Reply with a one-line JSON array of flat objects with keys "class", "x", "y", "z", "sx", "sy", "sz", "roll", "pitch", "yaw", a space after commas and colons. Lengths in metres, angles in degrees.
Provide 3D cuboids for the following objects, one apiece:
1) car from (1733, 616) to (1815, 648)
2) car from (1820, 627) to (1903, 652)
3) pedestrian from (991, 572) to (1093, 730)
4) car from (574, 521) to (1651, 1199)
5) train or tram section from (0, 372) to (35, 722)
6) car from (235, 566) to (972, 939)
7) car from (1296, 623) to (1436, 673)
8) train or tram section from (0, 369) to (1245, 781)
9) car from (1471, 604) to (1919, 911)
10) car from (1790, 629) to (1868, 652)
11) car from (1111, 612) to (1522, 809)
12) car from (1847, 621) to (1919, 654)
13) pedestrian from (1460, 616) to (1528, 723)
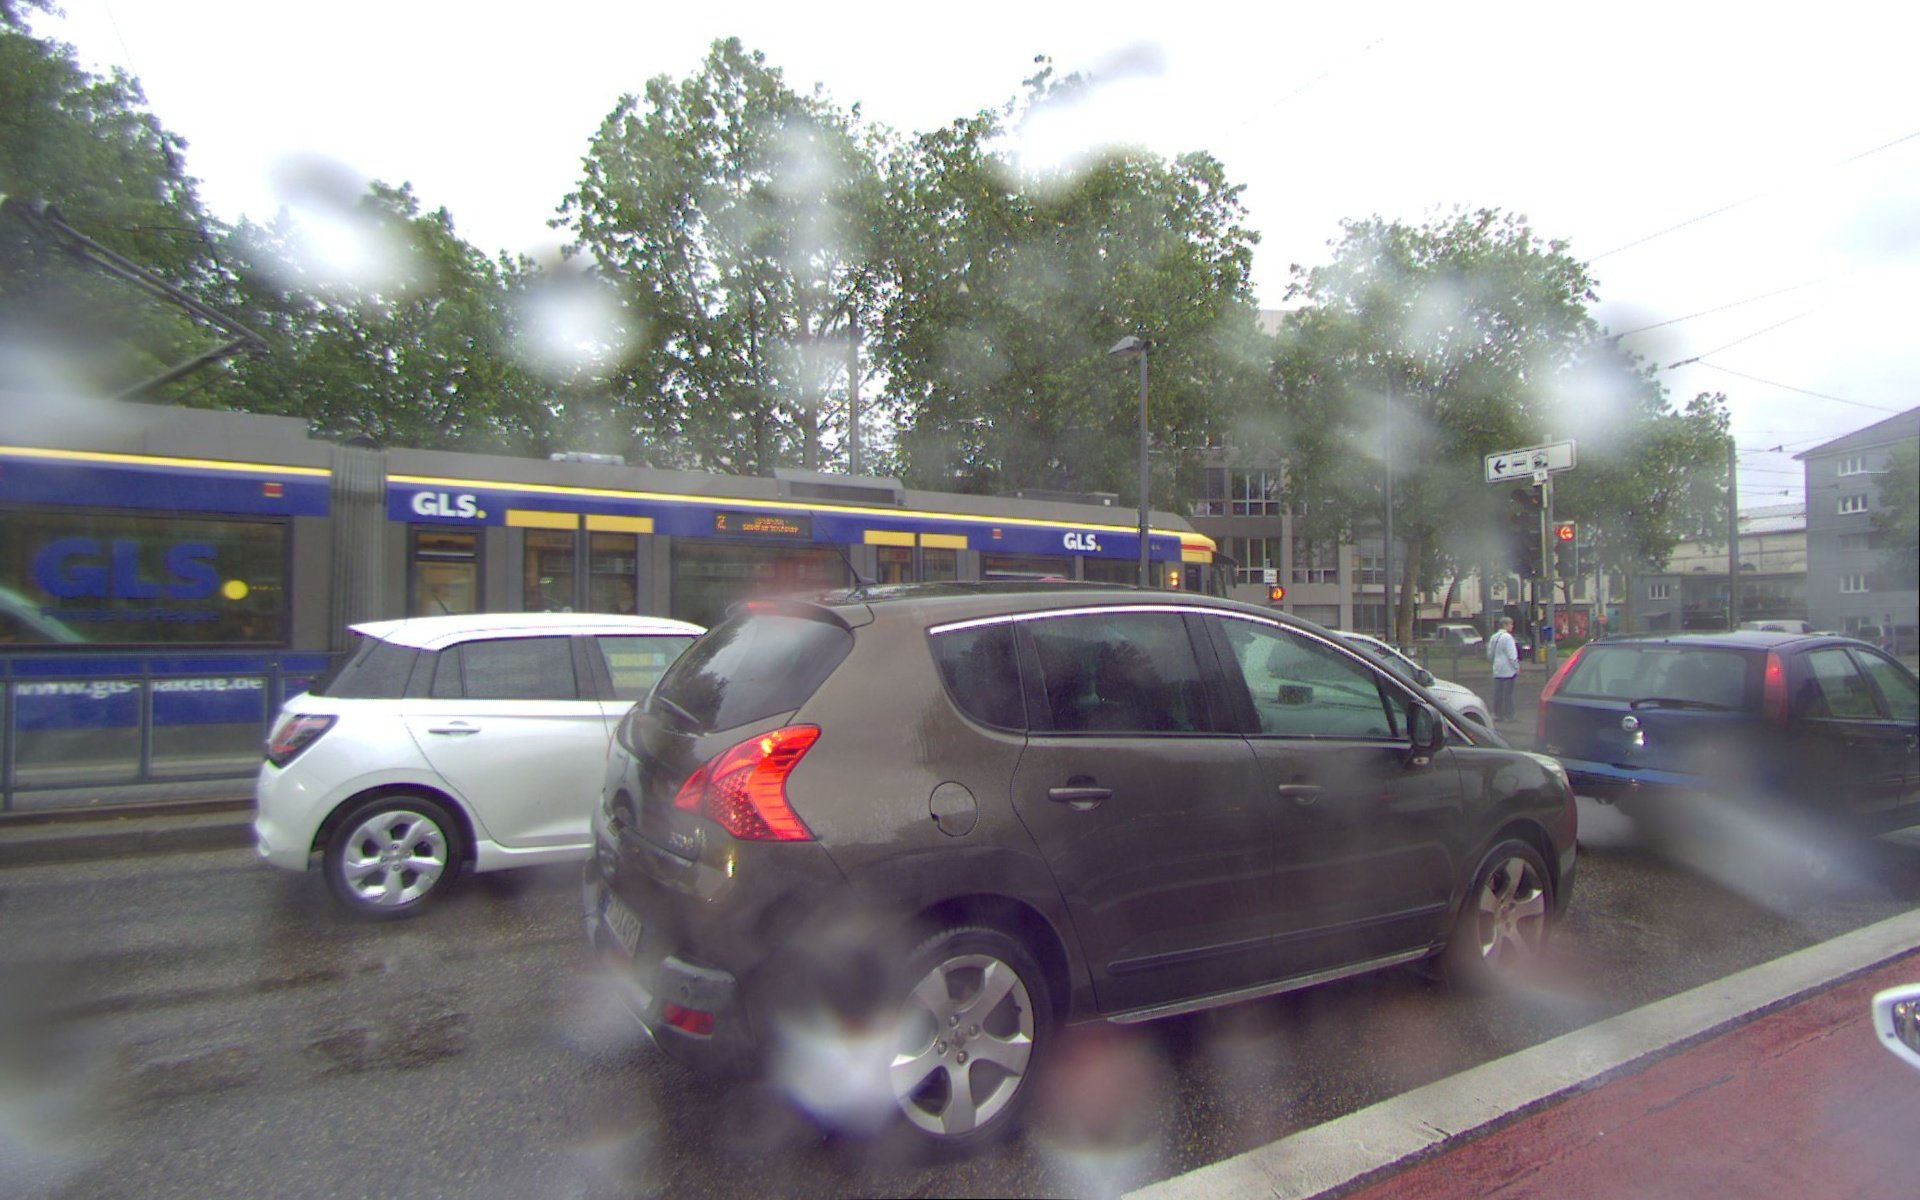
[{"class": "car", "x": 59.637, "y": 2.315, "z": 73.631, "sx": 4.698, "sy": 2.228, "sz": 1.998, "roll": 0, "pitch": 1, "yaw": -6}, {"class": "car", "x": 61.376, "y": 2.674, "z": 68.438, "sx": 3.922, "sy": 1.550, "sz": 1.999, "roll": 0, "pitch": 0, "yaw": -3}, {"class": "pedestrian", "x": 0.954, "y": 0.589, "z": 11.818, "sx": 0.888, "sy": 1.769, "sz": 0.762, "roll": 0, "pitch": -3, "yaw": -30}, {"class": "car", "x": 0.761, "y": 0.715, "z": 4.101, "sx": 4.124, "sy": 1.690, "sz": 1.825, "roll": 1, "pitch": -1, "yaw": -30}, {"class": "train or tram section", "x": -15.241, "y": -0.664, "z": 6.178, "sx": 13.500, "sy": 3.559, "sz": 3.496, "roll": 1, "pitch": 0, "yaw": -31}, {"class": "car", "x": -1.964, "y": 0.731, "z": 6.131, "sx": 3.791, "sy": 1.650, "sz": 1.637, "roll": 1, "pitch": -2, "yaw": -30}, {"class": "car", "x": 11.568, "y": 1.372, "z": 28.670, "sx": 3.466, "sy": 1.331, "sz": 1.594, "roll": 1, "pitch": 0, "yaw": -16}, {"class": "train or tram section", "x": -2.953, "y": -0.074, "z": 13.573, "sx": 15.326, "sy": 3.458, "sz": 3.523, "roll": 1, "pitch": 0, "yaw": -31}, {"class": "car", "x": 5.492, "y": 0.869, "z": 6.957, "sx": 3.776, "sy": 1.599, "sz": 1.719, "roll": 1, "pitch": -1, "yaw": -30}, {"class": "car", "x": 61.310, "y": 2.834, "z": 70.891, "sx": 3.922, "sy": 1.516, "sz": 1.960, "roll": 0, "pitch": 0, "yaw": -3}, {"class": "car", "x": 3.405, "y": 0.912, "z": 9.457, "sx": 3.737, "sy": 1.514, "sz": 1.621, "roll": 2, "pitch": -1, "yaw": -30}, {"class": "car", "x": 60.849, "y": 2.423, "z": 65.736, "sx": 3.923, "sy": 2.040, "sz": 1.999, "roll": 1, "pitch": 0, "yaw": -3}, {"class": "pedestrian", "x": 8.443, "y": 1.085, "z": 15.889, "sx": 0.731, "sy": 1.628, "sz": 0.623, "roll": 1, "pitch": 0, "yaw": -23}]
